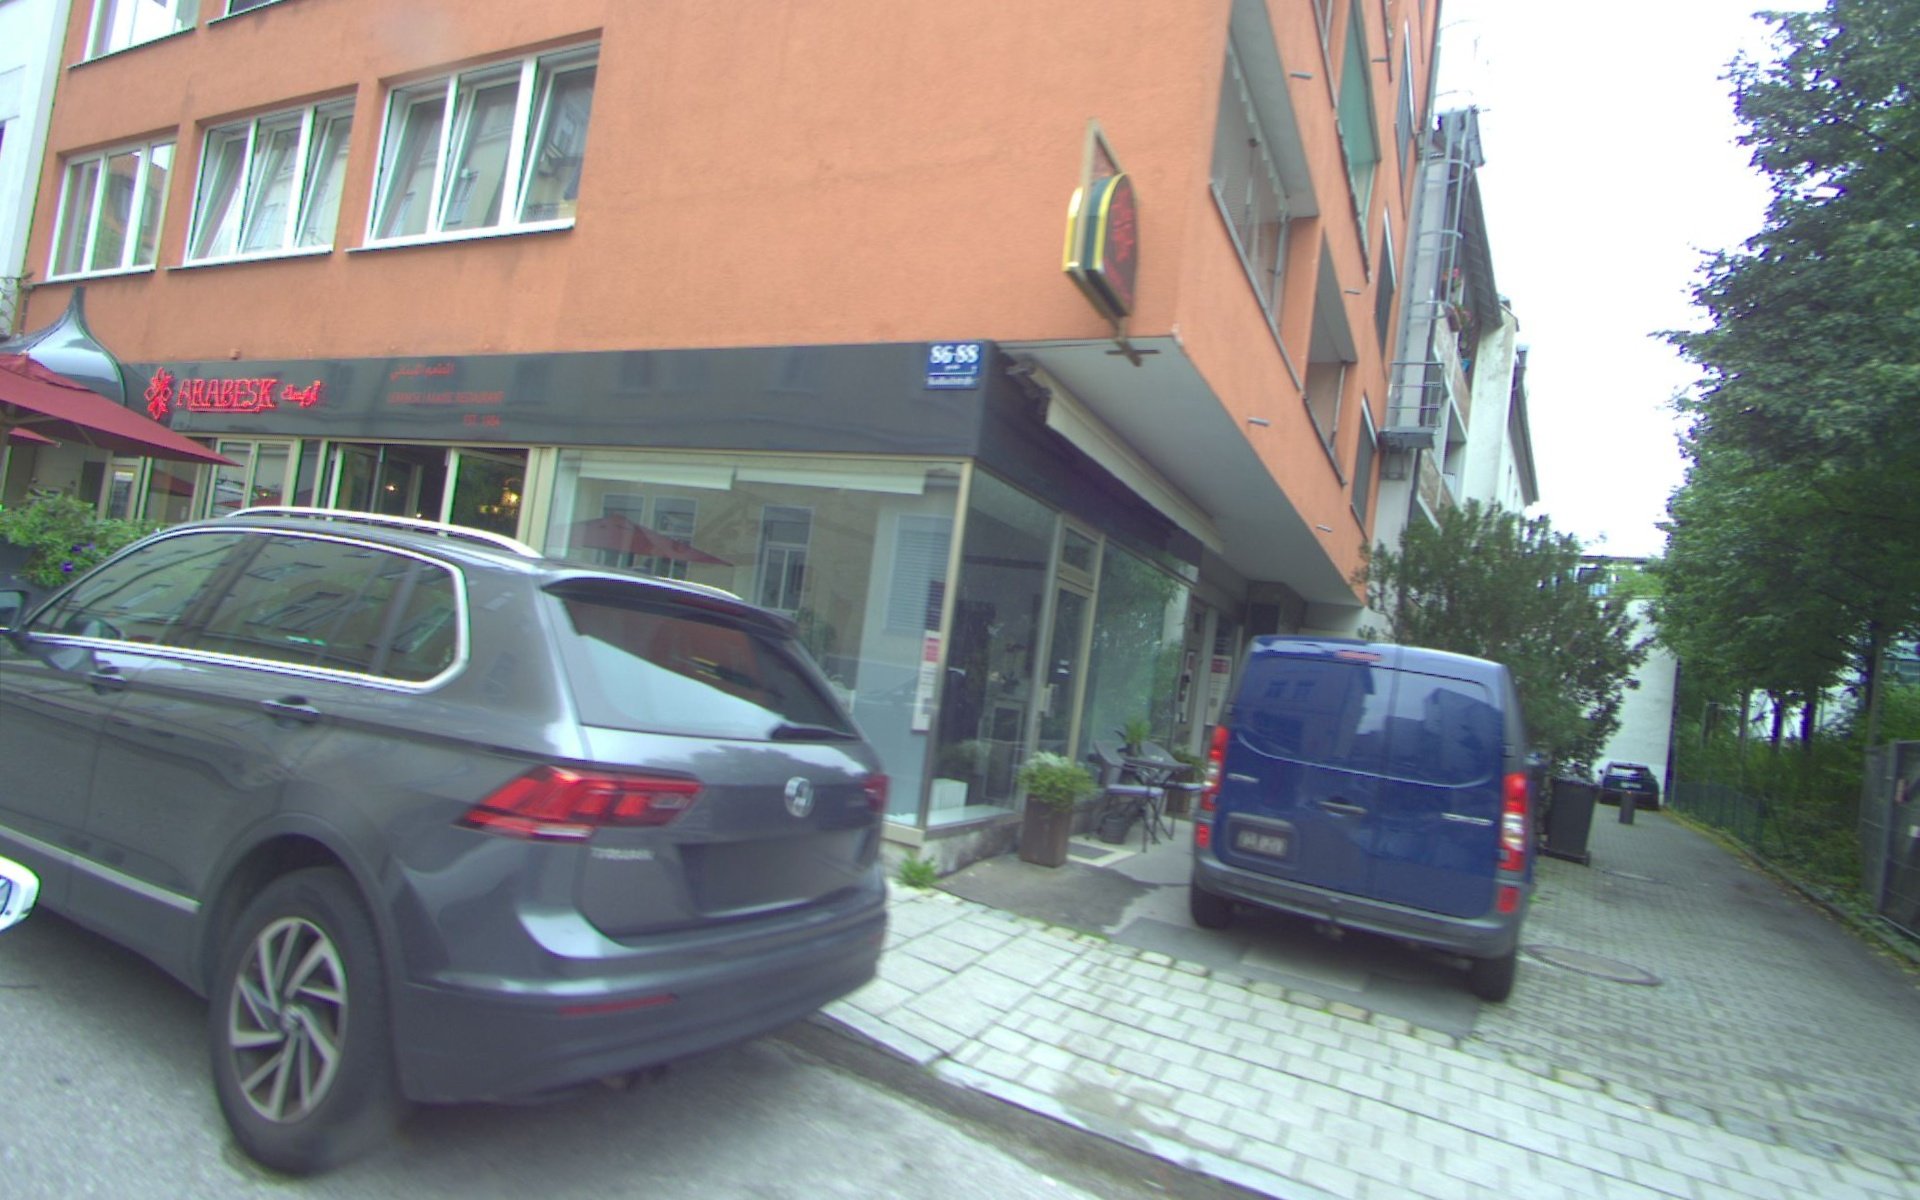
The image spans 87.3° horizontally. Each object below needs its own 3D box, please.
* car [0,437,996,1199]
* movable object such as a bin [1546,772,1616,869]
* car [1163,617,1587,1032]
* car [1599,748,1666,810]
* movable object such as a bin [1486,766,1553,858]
[{"bbox_3d":[-2.287,0.493,3.863,4.313,1.728,1.831,6,-4,29],"label":"car"},{"bbox_3d":[7.782,2.746,12.629,0.608,1.064,0.535,7,-4,27],"label":"movable object such as a bin"},{"bbox_3d":[3.000,1.285,7.089,1.808,1.739,4.477,7,-3,27],"label":"car"},{"bbox_3d":[24.296,6.461,36.459,1.704,1.849,3.999,6,-5,33],"label":"car"},{"bbox_3d":[7.106,2.674,12.803,0.608,1.023,0.681,7,-4,27],"label":"movable object such as a bin"}]
